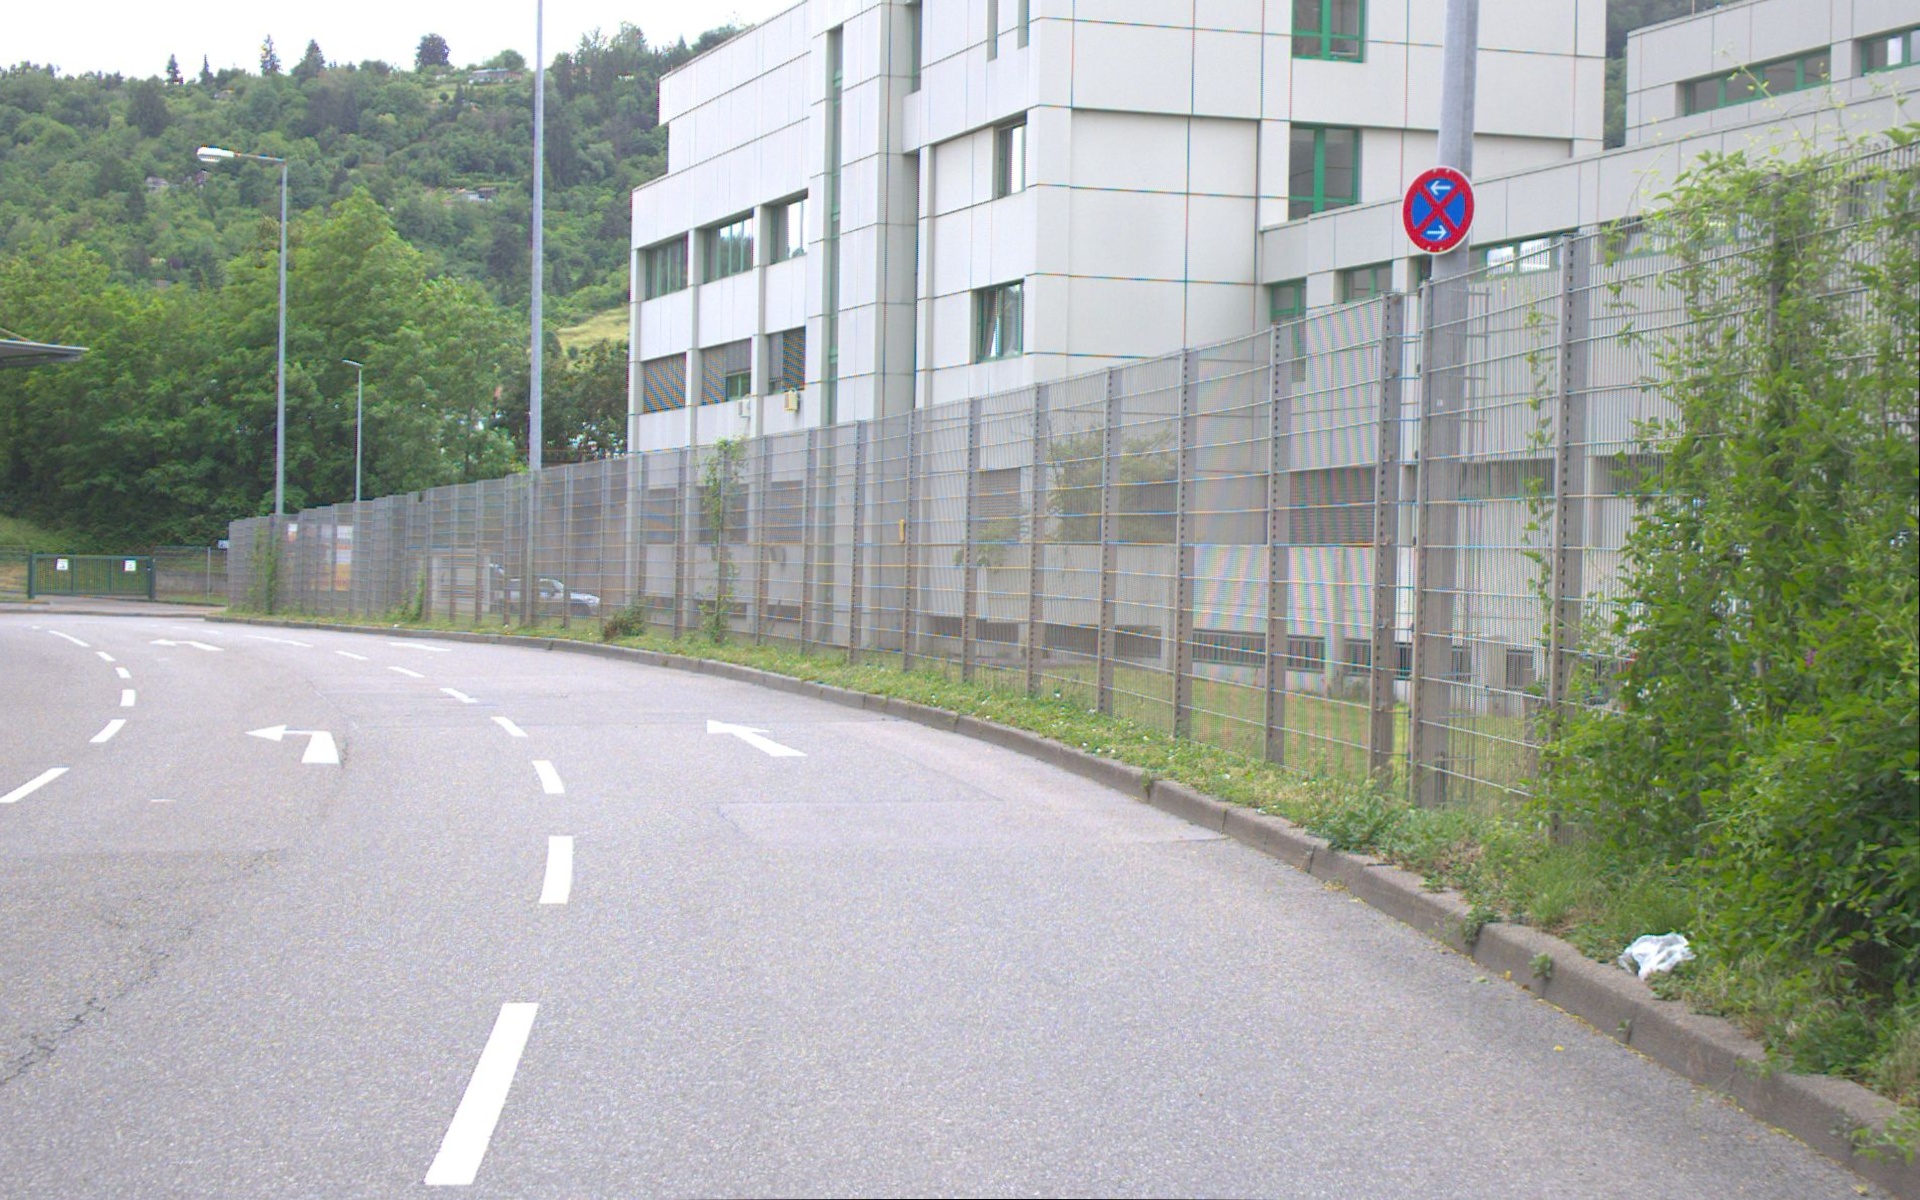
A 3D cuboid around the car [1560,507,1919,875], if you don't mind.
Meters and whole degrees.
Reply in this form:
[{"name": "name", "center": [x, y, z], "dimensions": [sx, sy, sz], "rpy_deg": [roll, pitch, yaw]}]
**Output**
[{"name": "car", "center": [6.764, 0.579, 21.592], "dimensions": [1.994, 2.255, 6.169], "rpy_deg": [2, 0, -37]}]
